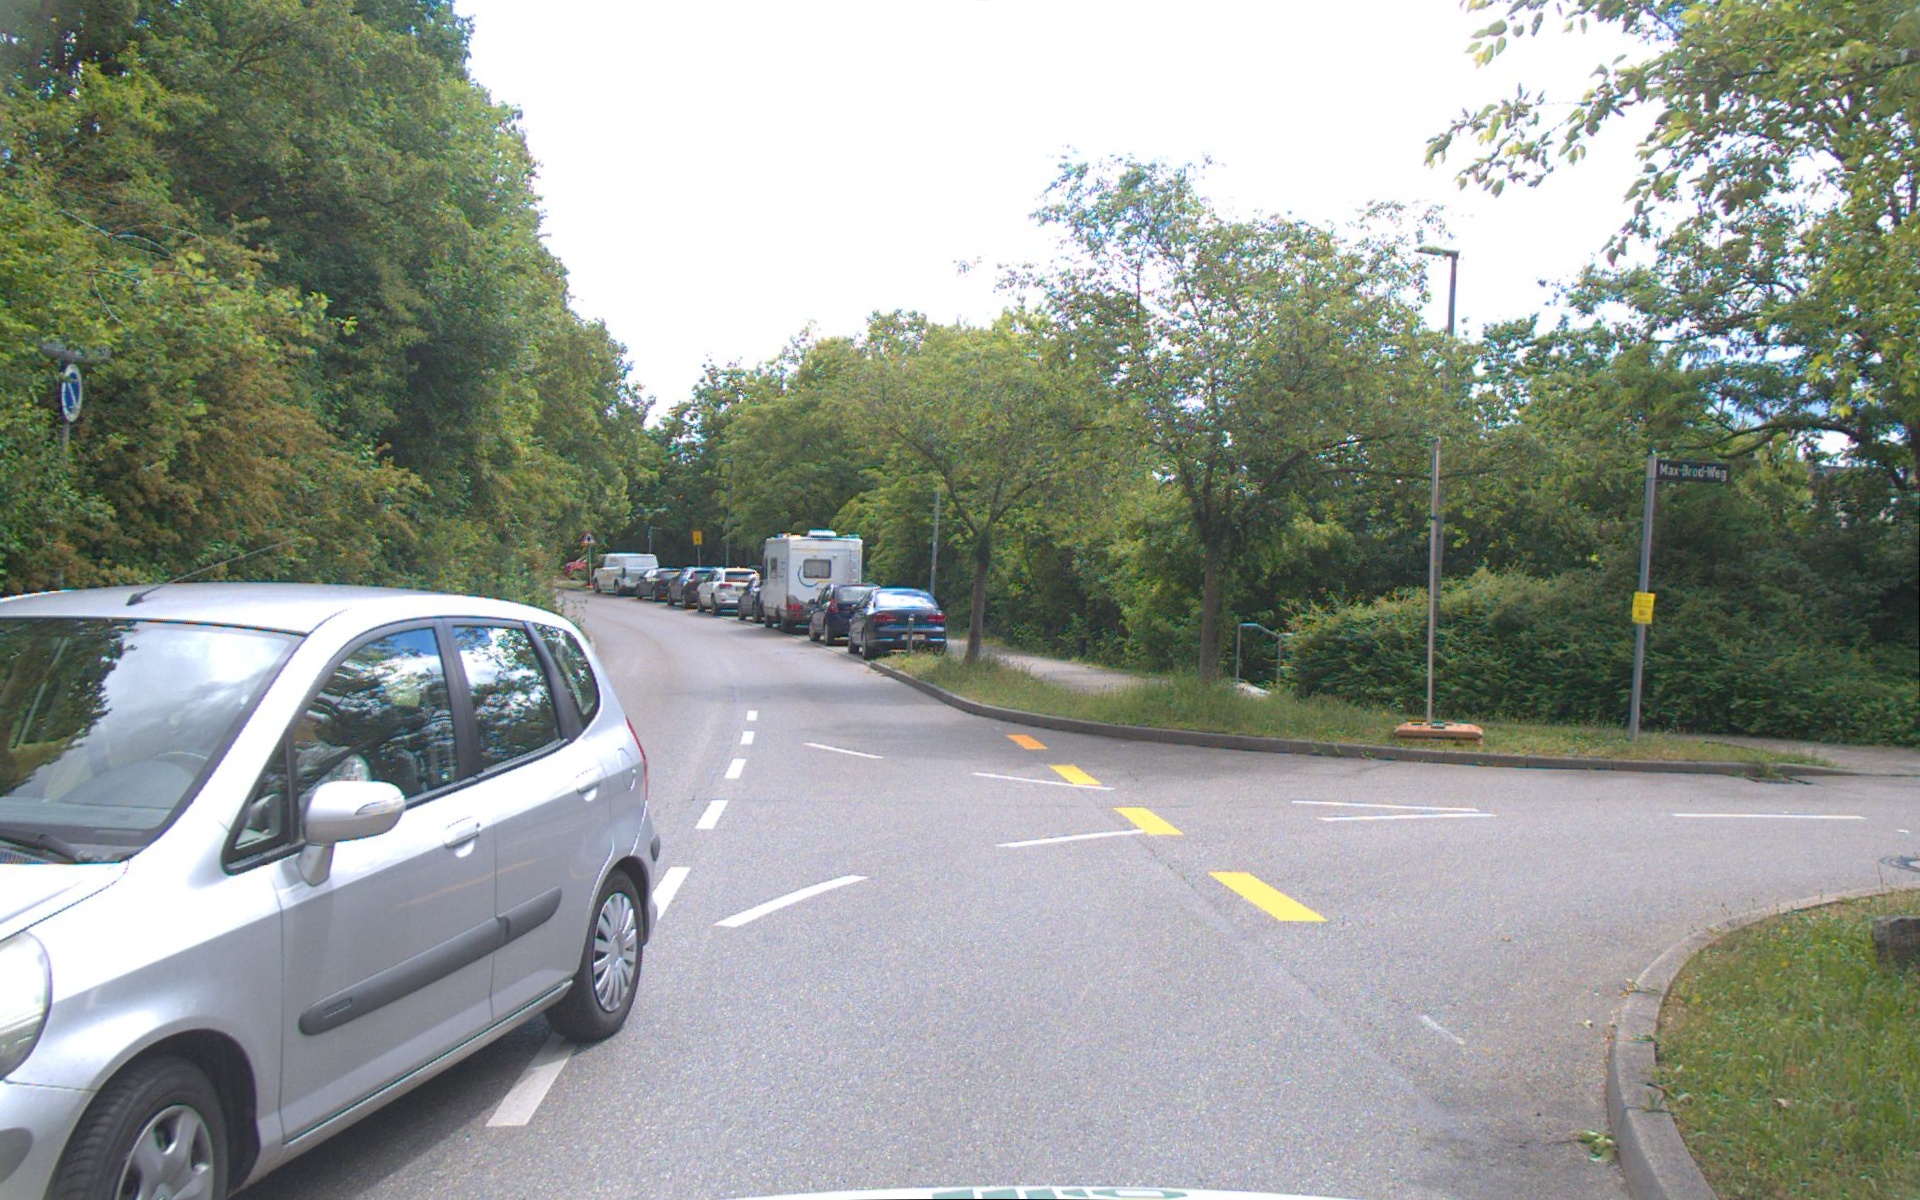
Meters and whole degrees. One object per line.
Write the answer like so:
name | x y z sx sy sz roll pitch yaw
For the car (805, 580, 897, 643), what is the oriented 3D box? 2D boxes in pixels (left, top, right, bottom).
car | -2.868 0.270 42.833 1.700 1.545 3.874 0 0 -15

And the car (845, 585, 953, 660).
car | -1.377 0.434 35.746 1.744 1.459 4.323 0 1 -10

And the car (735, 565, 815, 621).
car | -6.305 -0.272 56.044 1.686 1.618 3.978 -7 4 -19

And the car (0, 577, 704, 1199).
car | -2.160 0.695 4.477 1.802 1.481 3.655 1 0 10

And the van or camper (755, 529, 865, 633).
van or camper | -4.648 -0.602 50.200 2.294 2.919 6.127 1 1 -15

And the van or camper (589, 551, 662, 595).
van or camper | -16.163 -1.336 79.748 1.972 1.953 5.215 -1 3 -29

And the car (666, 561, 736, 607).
car | -10.743 -0.693 68.311 1.966 1.654 4.251 -2 3 -22

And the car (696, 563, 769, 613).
car | -8.671 -0.469 62.742 1.843 1.718 4.554 2 2 -19

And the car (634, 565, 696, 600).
car | -13.307 -0.816 74.454 1.775 1.489 3.967 0 2 -26
